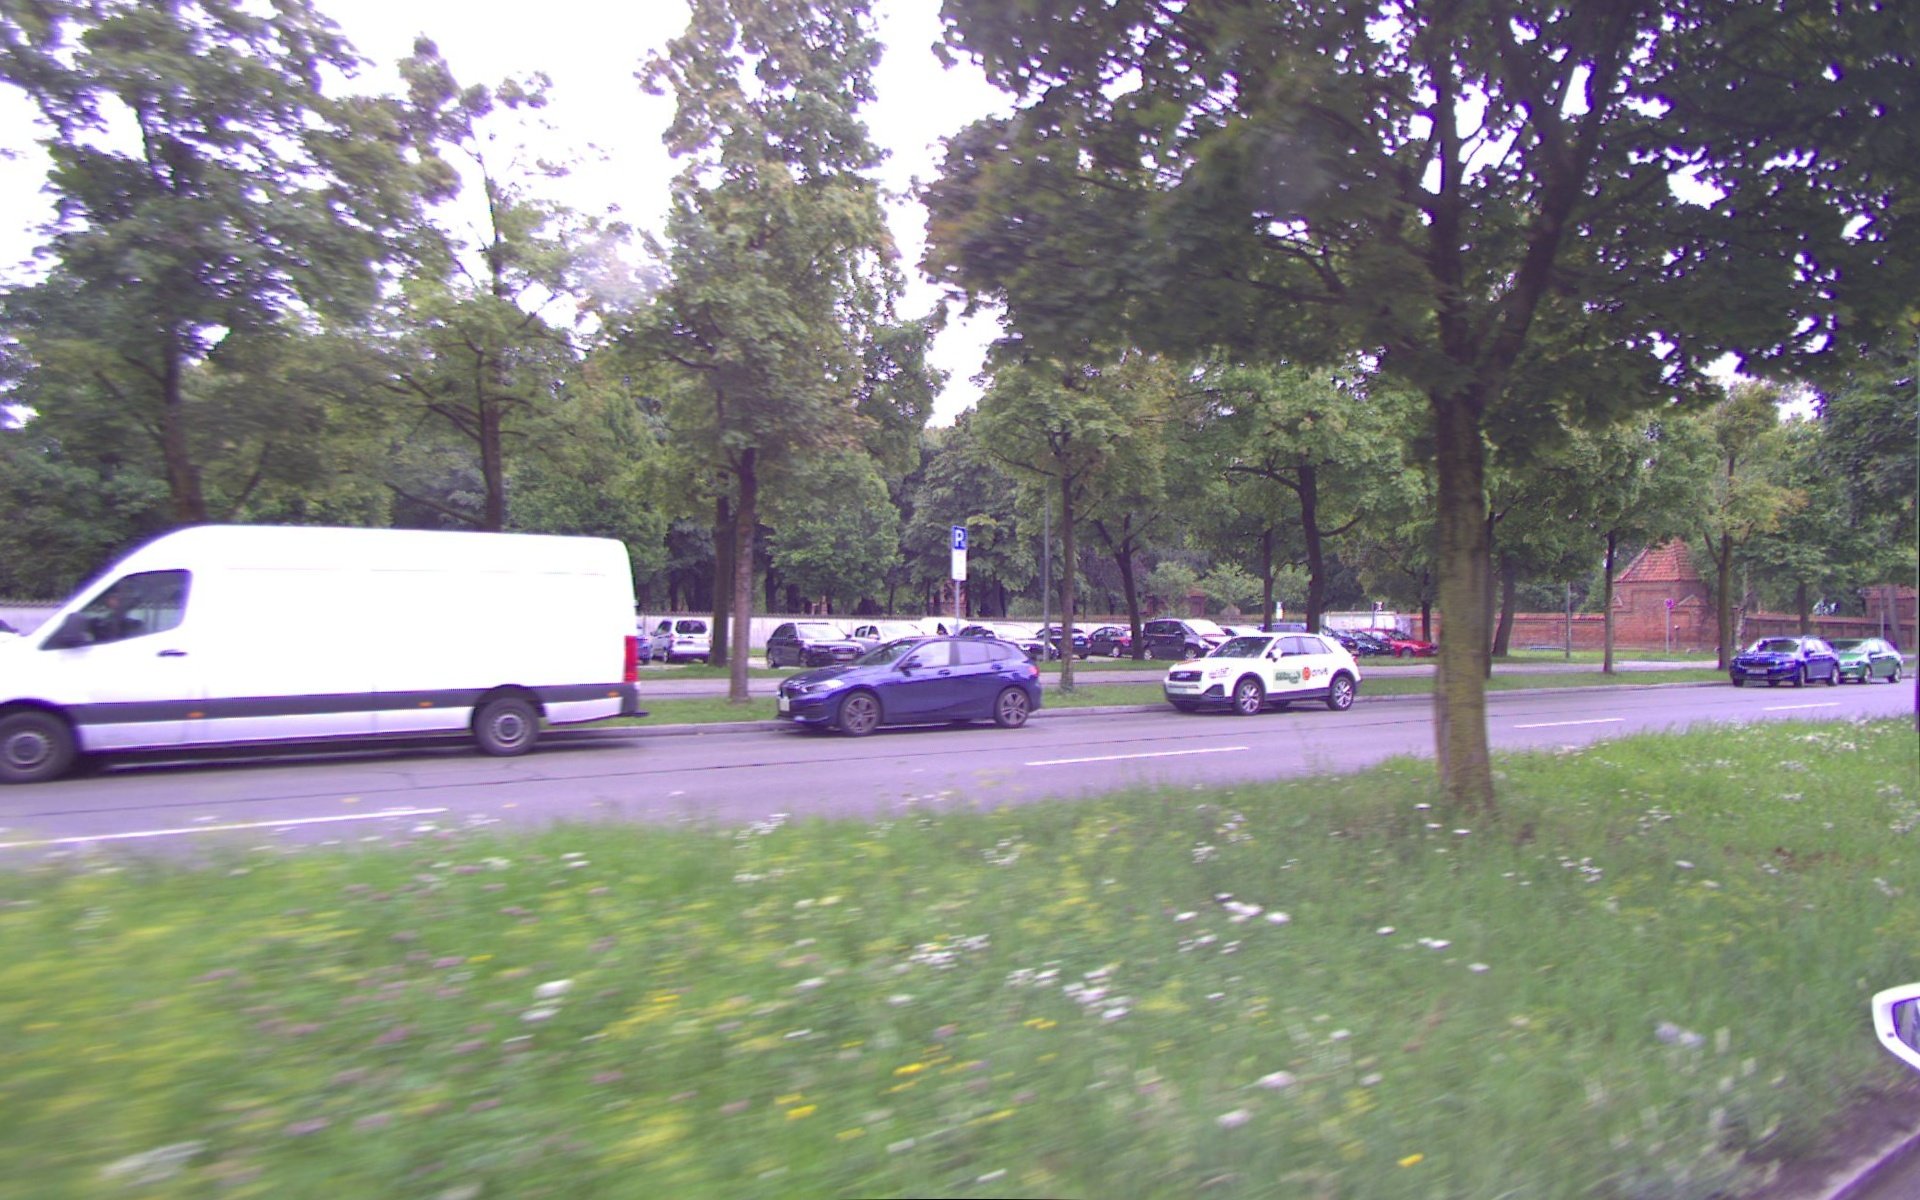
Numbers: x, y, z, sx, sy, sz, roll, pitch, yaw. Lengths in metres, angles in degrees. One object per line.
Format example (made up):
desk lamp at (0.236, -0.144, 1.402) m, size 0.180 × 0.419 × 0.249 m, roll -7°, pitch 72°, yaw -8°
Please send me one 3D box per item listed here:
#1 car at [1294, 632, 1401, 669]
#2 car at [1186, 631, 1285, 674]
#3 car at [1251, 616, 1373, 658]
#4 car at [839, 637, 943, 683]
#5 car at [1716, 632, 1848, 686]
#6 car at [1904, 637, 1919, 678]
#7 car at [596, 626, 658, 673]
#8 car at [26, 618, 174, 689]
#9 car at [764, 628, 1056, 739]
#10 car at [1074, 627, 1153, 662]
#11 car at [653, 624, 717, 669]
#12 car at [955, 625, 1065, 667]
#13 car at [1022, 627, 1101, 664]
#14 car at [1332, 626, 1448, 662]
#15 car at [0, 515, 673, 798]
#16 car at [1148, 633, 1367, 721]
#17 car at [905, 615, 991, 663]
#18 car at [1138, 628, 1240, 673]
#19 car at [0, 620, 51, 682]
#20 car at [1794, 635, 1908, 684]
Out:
car at (15.925, 2.033, 41.430) m, size 1.738 × 1.410 × 3.959 m, roll 1°, pitch -1°, yaw -29°
car at (10.744, 2.018, 39.462) m, size 1.968 × 1.524 × 3.986 m, roll 1°, pitch -1°, yaw -17°
car at (13.762, 1.424, 39.491) m, size 1.977 × 1.524 × 4.329 m, roll 1°, pitch -1°, yaw -30°
car at (-2.141, 1.752, 30.291) m, size 1.760 × 1.225 × 3.973 m, roll 1°, pitch -1°, yaw -26°
car at (25.342, 1.809, 30.931) m, size 4.267 × 1.557 × 1.877 m, roll 1°, pitch -4°, yaw -32°
car at (38.671, 2.190, 38.932) m, size 4.260 × 1.557 × 1.754 m, roll 1°, pitch -4°, yaw -28°
car at (-12.476, 1.791, 37.516) m, size 1.746 × 1.617 × 3.975 m, roll 1°, pitch -1°, yaw -25°
car at (-18.209, 1.075, 21.459) m, size 1.794 × 1.356 × 3.965 m, roll 1°, pitch -1°, yaw -32°
car at (-0.732, 1.252, 15.774) m, size 4.205 × 1.510 × 1.847 m, roll 2°, pitch -2°, yaw -32°
car at (7.643, 2.185, 50.330) m, size 1.794 × 1.557 × 3.967 m, roll 1°, pitch 0°, yaw -30°
car at (-10.683, 1.770, 38.909) m, size 1.746 × 1.617 × 3.975 m, roll 1°, pitch -1°, yaw -25°
car at (1.550, 1.453, 32.495) m, size 1.760 × 1.225 × 4.159 m, roll 1°, pitch -1°, yaw -26°
car at (4.796, 2.133, 47.963) m, size 1.794 × 1.557 × 3.967 m, roll 1°, pitch 0°, yaw -30°
car at (18.137, 1.834, 42.535) m, size 1.738 × 1.410 × 4.394 m, roll 1°, pitch -1°, yaw -29°
car at (-7.190, 0.605, 11.909) m, size 7.022 × 2.678 × 2.130 m, roll 1°, pitch -2°, yaw -31°
car at (5.815, 1.454, 19.522) m, size 4.096 × 1.510 × 1.847 m, roll 2°, pitch -2°, yaw -32°
car at (-0.618, 1.759, 45.795) m, size 1.977 × 2.061 × 4.484 m, roll 1°, pitch -2°, yaw -30°
car at (8.385, 1.830, 37.125) m, size 1.968 × 1.524 × 3.986 m, roll 1°, pitch -1°, yaw -17°
car at (-27.503, 1.413, 28.243) m, size 1.746 × 1.675 × 3.975 m, roll 1°, pitch -1°, yaw -25°
car at (30.011, 1.967, 33.817) m, size 4.265 × 1.557 × 1.631 m, roll 1°, pitch -4°, yaw -31°
